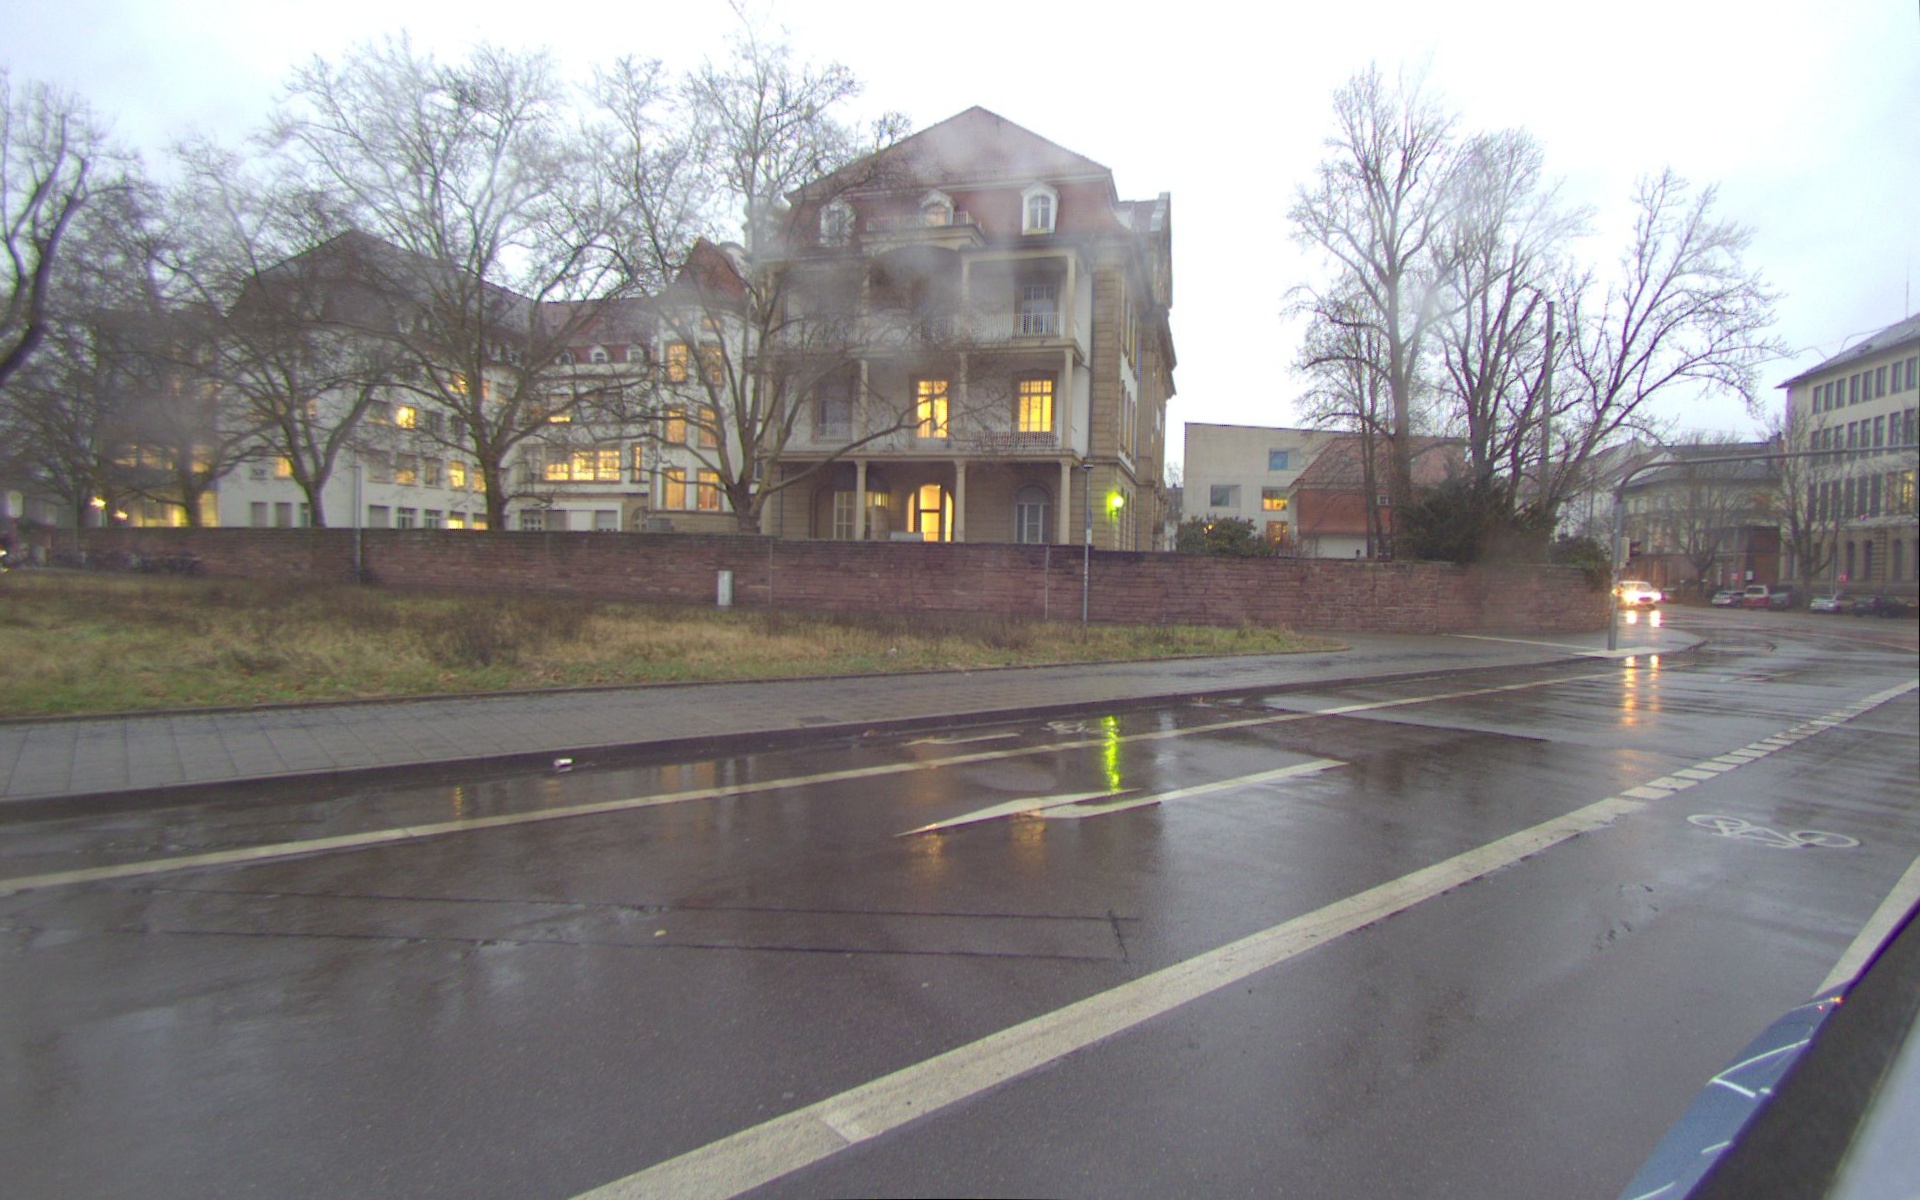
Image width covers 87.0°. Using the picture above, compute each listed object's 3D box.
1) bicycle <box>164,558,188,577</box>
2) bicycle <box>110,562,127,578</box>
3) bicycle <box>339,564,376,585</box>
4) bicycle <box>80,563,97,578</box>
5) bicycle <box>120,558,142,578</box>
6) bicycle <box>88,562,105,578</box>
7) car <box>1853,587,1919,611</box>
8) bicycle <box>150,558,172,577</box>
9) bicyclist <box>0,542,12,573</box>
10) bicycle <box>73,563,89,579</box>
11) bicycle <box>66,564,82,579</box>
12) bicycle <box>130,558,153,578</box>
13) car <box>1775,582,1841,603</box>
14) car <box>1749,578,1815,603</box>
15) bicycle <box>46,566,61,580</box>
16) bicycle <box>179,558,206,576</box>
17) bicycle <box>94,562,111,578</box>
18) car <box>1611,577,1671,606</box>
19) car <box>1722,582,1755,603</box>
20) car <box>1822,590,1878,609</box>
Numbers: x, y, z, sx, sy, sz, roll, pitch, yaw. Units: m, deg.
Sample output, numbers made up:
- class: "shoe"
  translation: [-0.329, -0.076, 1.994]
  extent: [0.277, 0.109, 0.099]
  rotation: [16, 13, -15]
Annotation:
- class: "bicycle"
  translation: [-35.555, -1.467, 45.867]
  extent: [1.519, 0.796, 0.389]
  rotation: [0, 0, 33]
- class: "bicycle"
  translation: [-41.478, -1.474, 49.884]
  extent: [1.599, 0.796, 0.388]
  rotation: [0, 0, 41]
- class: "bicycle"
  translation: [-23.390, -0.986, 39.277]
  extent: [1.366, 0.835, 0.392]
  rotation: [0, 0, 14]
- class: "bicycle"
  translation: [-45.446, -1.530, 52.749]
  extent: [1.522, 0.796, 0.389]
  rotation: [0, 0, 38]
- class: "bicycle"
  translation: [-39.913, -1.537, 48.729]
  extent: [1.519, 0.928, 0.389]
  rotation: [0, 0, 33]
- class: "bicycle"
  translation: [-44.183, -1.527, 51.776]
  extent: [1.522, 0.796, 0.389]
  rotation: [0, 0, 38]
- class: "car"
  translation: [61.960, -0.055, 67.005]
  extent: [3.927, 1.570, 1.800]
  rotation: [0, 0, 4]
- class: "bicycle"
  translation: [-37.035, -1.495, 46.893]
  extent: [1.480, 0.849, 0.346]
  rotation: [0, 0, 32]
- class: "bicyclist"
  translation: [-51.267, -2.278, 54.222]
  extent: [0.450, 1.662, 0.603]
  rotation: [0, 0, 37]
- class: "bicycle"
  translation: [-46.676, -1.533, 53.728]
  extent: [1.522, 0.796, 0.389]
  rotation: [0, 0, 38]
- class: "bicycle"
  translation: [-47.900, -1.536, 54.682]
  extent: [1.522, 0.796, 0.389]
  rotation: [0, 0, 38]
- class: "bicycle"
  translation: [-38.631, -1.505, 47.775]
  extent: [1.519, 0.869, 0.389]
  rotation: [0, 0, 33]
- class: "car"
  translation: [64.698, -0.579, 77.224]
  extent: [3.916, 1.570, 1.805]
  rotation: [0, 0, -13]
- class: "car"
  translation: [64.979, -0.785, 80.022]
  extent: [3.916, 1.924, 2.052]
  rotation: [0, 0, -13]
- class: "bicycle"
  translation: [-51.613, -1.545, 57.601]
  extent: [1.522, 0.796, 0.389]
  rotation: [0, 0, 38]
- class: "bicycle"
  translation: [-34.215, -1.467, 45.117]
  extent: [1.399, 0.796, 0.355]
  rotation: [0, 0, 26]
- class: "bicycle"
  translation: [-43.135, -1.493, 50.904]
  extent: [1.522, 0.796, 0.389]
  rotation: [0, 0, 38]
- class: "car"
  translation: [49.023, -0.622, 72.953]
  extent: [1.970, 2.039, 4.871]
  rotation: [0, 0, 13]
- class: "car"
  translation: [66.479, -0.638, 86.386]
  extent: [1.992, 1.690, 3.940]
  rotation: [0, 1, 42]
- class: "car"
  translation: [63.600, -0.076, 72.299]
  extent: [3.568, 1.322, 1.712]
  rotation: [-1, 0, -25]
